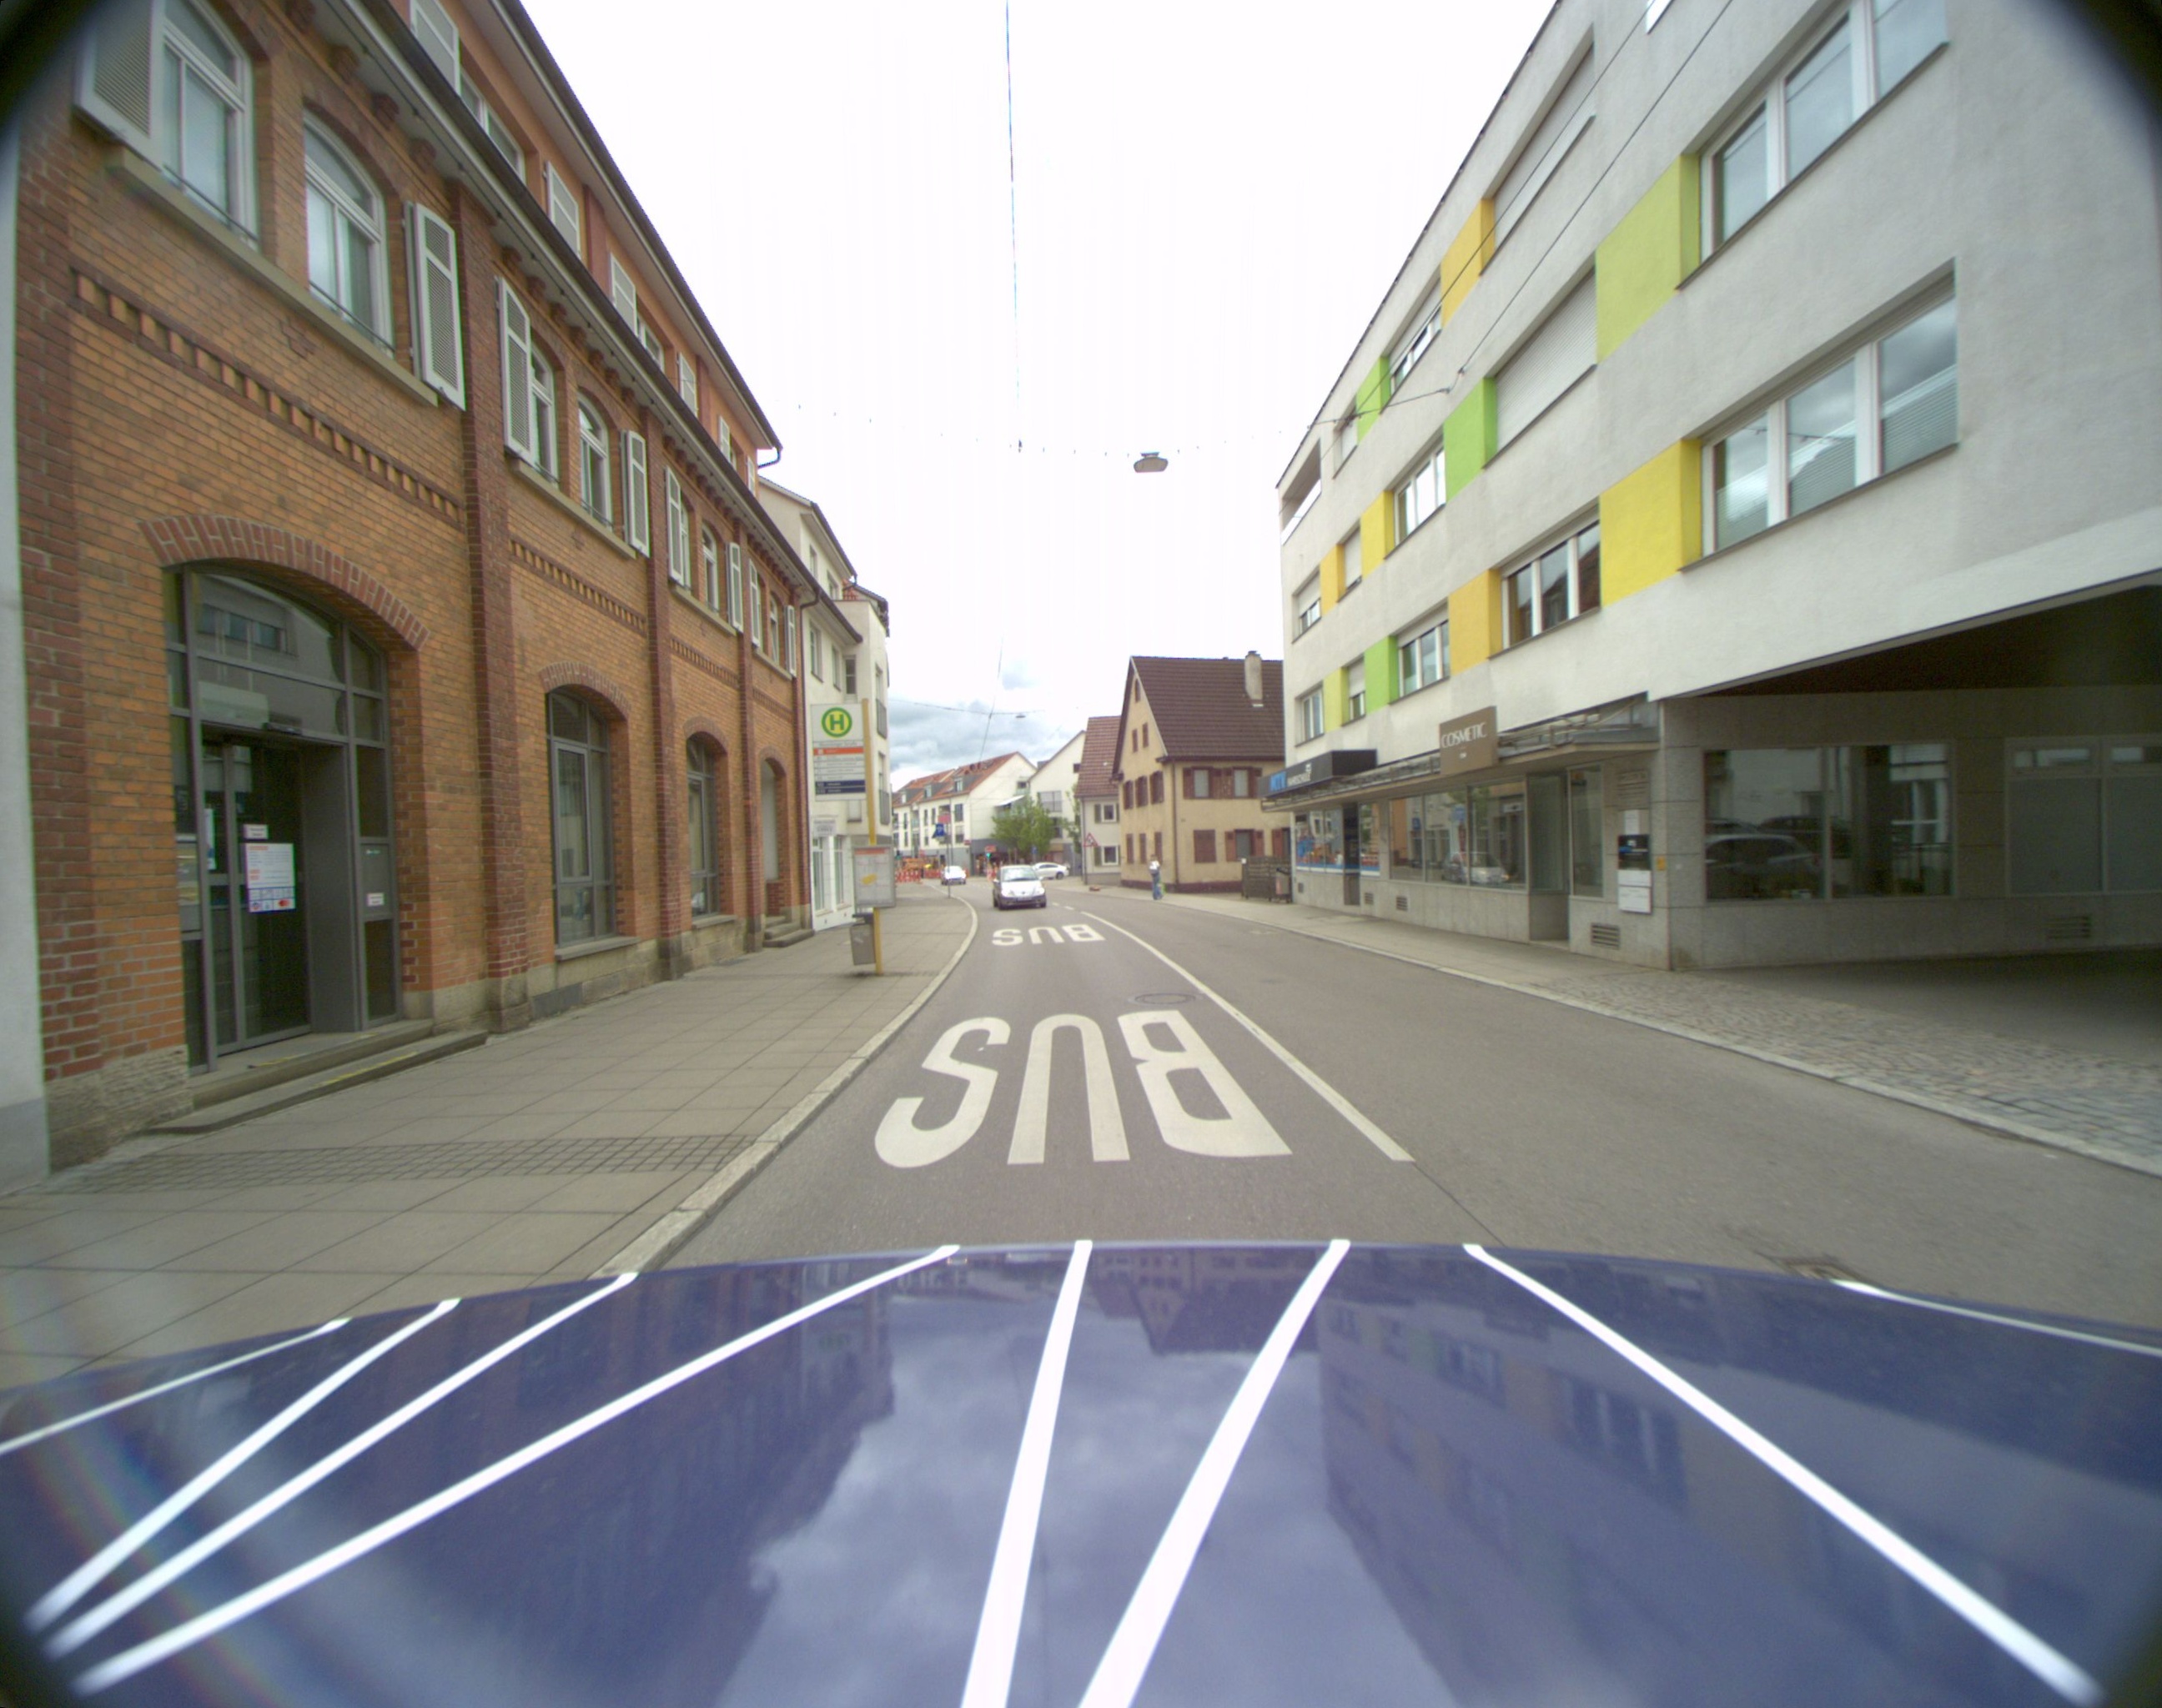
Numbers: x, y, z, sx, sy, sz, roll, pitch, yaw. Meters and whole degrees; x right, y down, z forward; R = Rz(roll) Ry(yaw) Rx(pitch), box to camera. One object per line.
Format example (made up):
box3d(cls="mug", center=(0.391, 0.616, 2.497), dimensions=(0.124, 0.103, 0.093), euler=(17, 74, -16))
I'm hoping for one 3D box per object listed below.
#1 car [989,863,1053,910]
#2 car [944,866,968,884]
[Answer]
box3d(cls="car", center=(-2.358, 1.182, 28.903), dimensions=(1.897, 1.617, 3.996), euler=(-1, 0, -12))
box3d(cls="car", center=(-10.041, 1.653, 60.933), dimensions=(1.756, 1.347, 3.997), euler=(-2, 0, -9))
